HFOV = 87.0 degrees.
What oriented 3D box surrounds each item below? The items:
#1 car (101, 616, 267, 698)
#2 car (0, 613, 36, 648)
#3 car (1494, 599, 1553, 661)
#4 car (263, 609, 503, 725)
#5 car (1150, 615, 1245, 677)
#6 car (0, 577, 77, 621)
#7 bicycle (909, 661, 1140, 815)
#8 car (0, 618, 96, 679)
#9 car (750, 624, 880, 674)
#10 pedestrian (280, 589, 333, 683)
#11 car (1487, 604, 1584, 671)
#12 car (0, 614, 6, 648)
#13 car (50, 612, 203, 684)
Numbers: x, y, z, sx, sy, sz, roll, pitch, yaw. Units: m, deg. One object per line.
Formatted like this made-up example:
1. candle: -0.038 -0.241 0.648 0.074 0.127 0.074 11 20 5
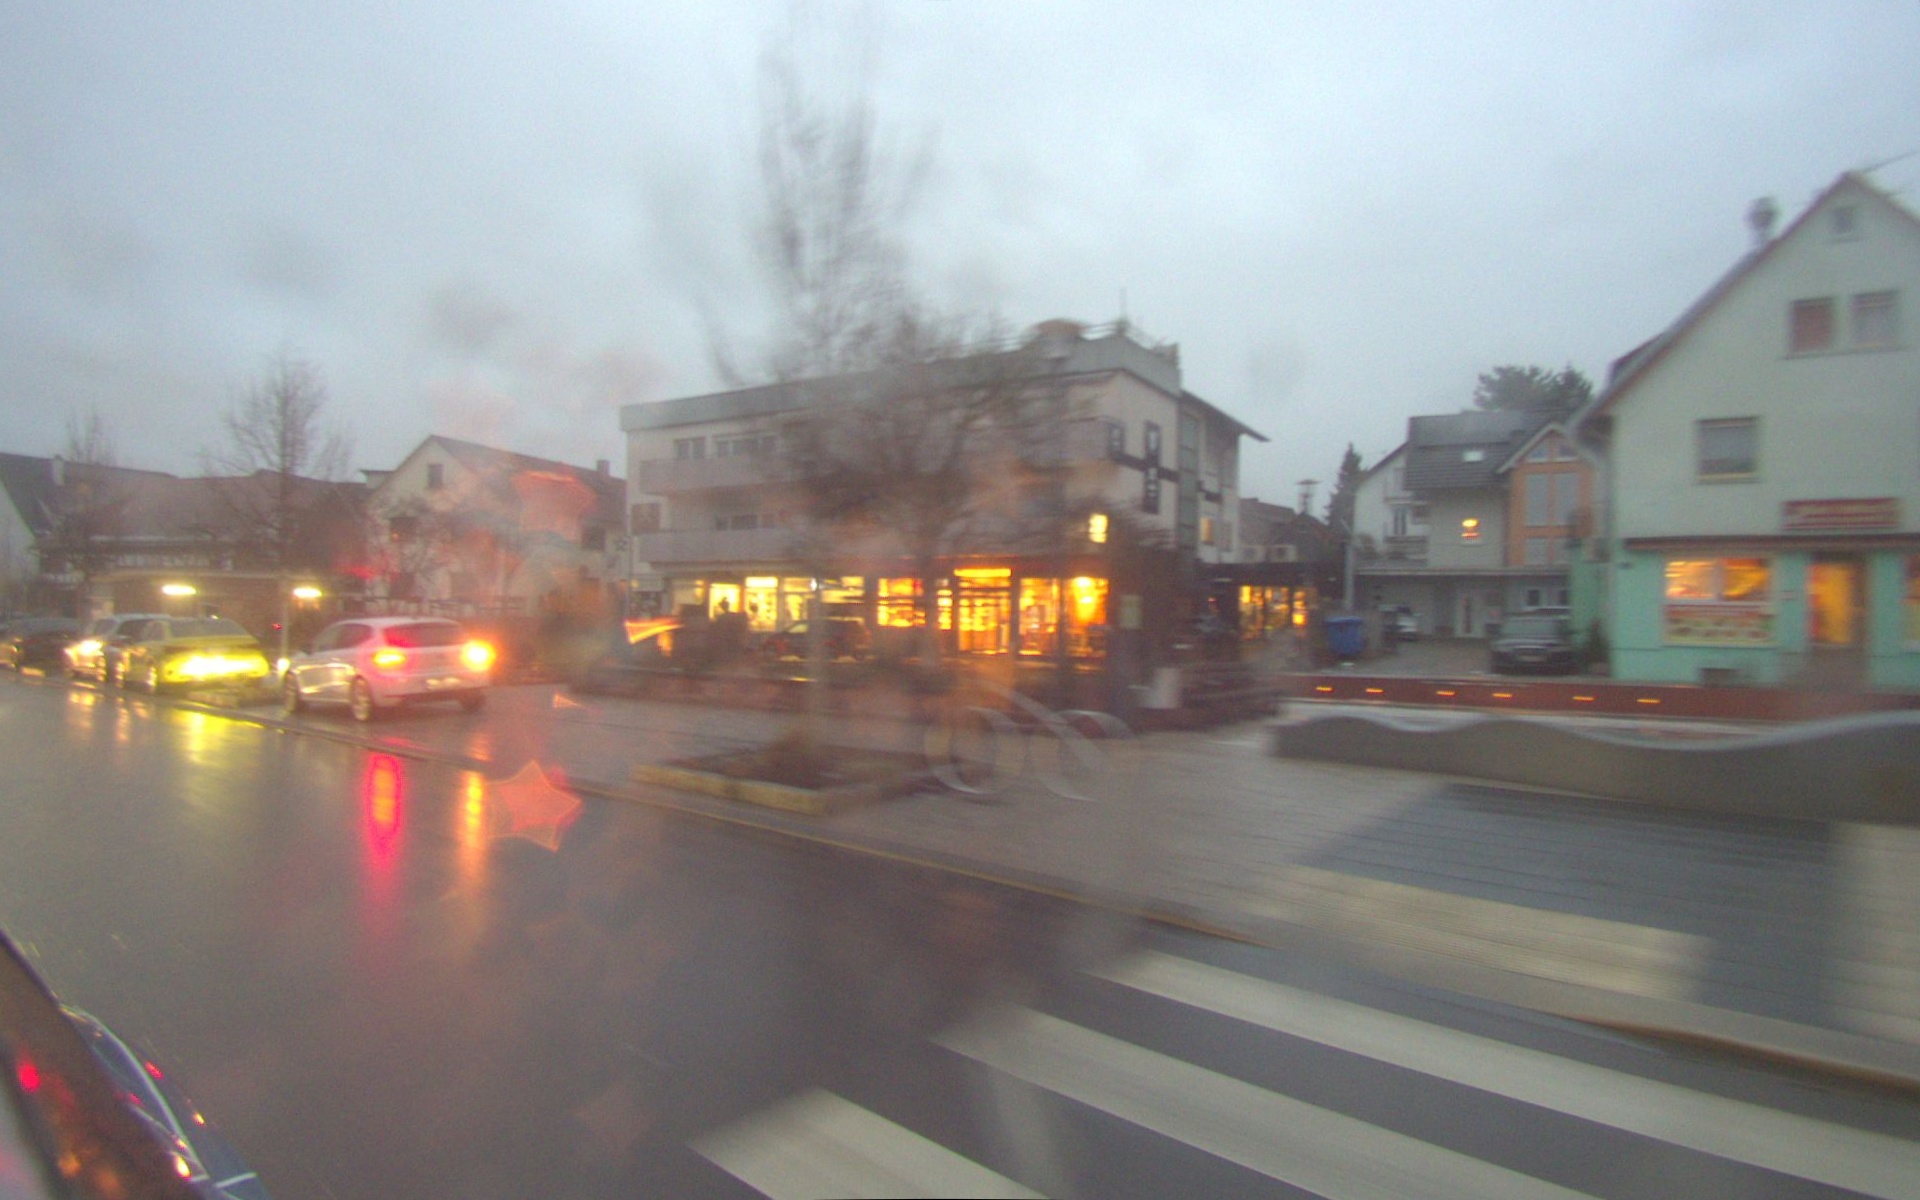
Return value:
1. car: -15.675 1.080 20.362 4.372 1.442 1.678 -1 0 39
2. car: -44.092 1.401 45.424 3.787 1.557 2.002 -1 0 -44
3. car: 18.205 0.928 32.654 1.563 1.871 3.278 -1 0 31
4. car: -8.821 0.904 15.341 4.178 1.500 1.767 0 0 39
5. car: 7.686 1.456 32.511 1.991 1.858 3.960 0 -2 29
6. car: -38.363 -0.042 40.876 3.936 1.776 1.436 -1 0 -38
7. bicycle: 0.462 1.009 7.614 1.734 1.070 0.322 -2 -7 25
8. car: -25.870 1.293 28.325 4.134 1.546 1.818 -1 0 39
9. car: -4.855 1.600 33.875 3.986 1.576 1.979 -1 -2 31
10. pedestrian: -14.579 0.788 22.581 0.889 2.029 0.791 0 -2 -42
11. car: 15.147 0.943 26.528 1.979 1.615 3.955 -1 -1 33
12. car: -46.578 1.477 46.445 3.938 1.559 2.003 -1 0 -41
13. car: -19.722 1.076 23.923 3.663 1.546 1.859 -1 0 34
